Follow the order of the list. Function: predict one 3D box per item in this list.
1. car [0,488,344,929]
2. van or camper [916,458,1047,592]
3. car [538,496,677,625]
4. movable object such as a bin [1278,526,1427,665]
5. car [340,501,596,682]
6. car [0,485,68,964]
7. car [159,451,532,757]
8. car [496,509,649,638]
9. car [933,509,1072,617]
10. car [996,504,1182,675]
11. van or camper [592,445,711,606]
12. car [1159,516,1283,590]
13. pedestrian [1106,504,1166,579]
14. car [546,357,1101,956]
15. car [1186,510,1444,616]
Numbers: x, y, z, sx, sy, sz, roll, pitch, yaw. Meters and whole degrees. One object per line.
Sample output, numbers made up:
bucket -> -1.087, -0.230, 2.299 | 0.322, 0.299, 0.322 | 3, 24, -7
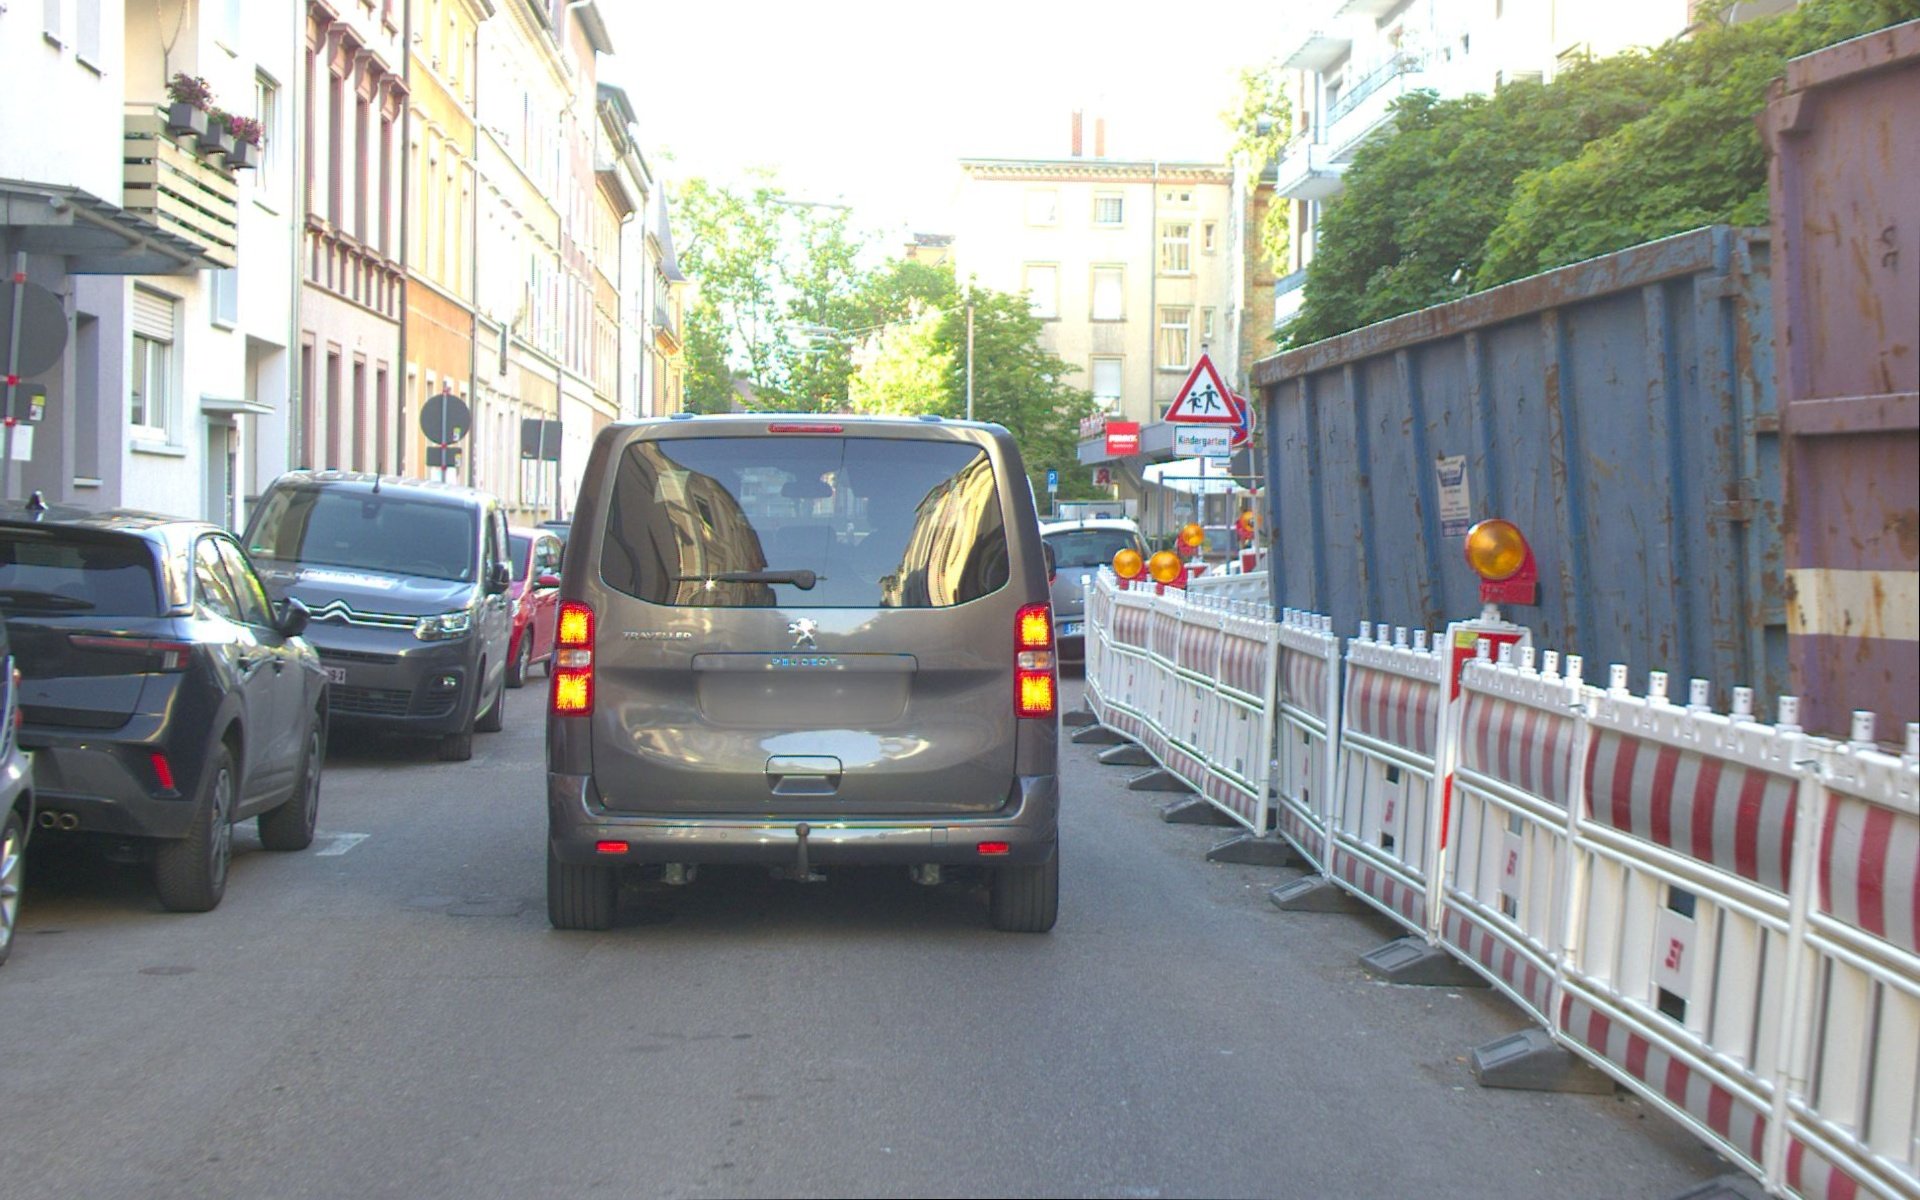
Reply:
car -> -3.764, 0.336, 14.616 | 1.740, 1.594, 4.015 | 2, 1, -3
van or camper -> 0.370, -1.549, 70.613 | 2.099, 2.593, 7.514 | 0, 1, -4
car -> -4.950, -0.592, 48.700 | 1.711, 1.638, 3.980 | 4, 1, -4
movable object such as a bin -> 4.082, -0.049, 35.783 | 1.250, 1.371, 0.802 | 2, 1, -28
car -> -4.677, -0.121, 33.132 | 1.669, 1.480, 3.605 | 6, 2, 2
car -> -3.801, 0.402, 10.673 | 1.395, 1.583, 2.794 | 3, 2, -3
car -> -4.115, -0.035, 23.727 | 1.993, 1.852, 4.586 | 2, 1, -4
car -> -4.863, -0.364, 43.512 | 1.657, 1.443, 3.287 | 4, 1, -4
car -> 0.624, -0.620, 54.523 | 1.722, 1.606, 4.589 | 1, 1, -5
car -> 1.338, -0.169, 37.297 | 1.749, 1.677, 4.526 | 2, 2, 0
van or camper -> -5.345, -1.321, 60.019 | 1.949, 2.640, 7.143 | 0, 1, -4
car -> 5.169, -0.936, 67.834 | 1.601, 1.411, 3.226 | 1, 1, 21
pedestrian -> 4.072, -1.355, 79.620 | 0.932, 1.714, 1.063 | -1, 2, -36
car -> -0.568, 0.130, 13.658 | 1.857, 2.006, 4.001 | -1, 2, -3
car -> 5.709, -0.611, 55.571 | 3.895, 1.602, 1.695 | 1, 1, -3
